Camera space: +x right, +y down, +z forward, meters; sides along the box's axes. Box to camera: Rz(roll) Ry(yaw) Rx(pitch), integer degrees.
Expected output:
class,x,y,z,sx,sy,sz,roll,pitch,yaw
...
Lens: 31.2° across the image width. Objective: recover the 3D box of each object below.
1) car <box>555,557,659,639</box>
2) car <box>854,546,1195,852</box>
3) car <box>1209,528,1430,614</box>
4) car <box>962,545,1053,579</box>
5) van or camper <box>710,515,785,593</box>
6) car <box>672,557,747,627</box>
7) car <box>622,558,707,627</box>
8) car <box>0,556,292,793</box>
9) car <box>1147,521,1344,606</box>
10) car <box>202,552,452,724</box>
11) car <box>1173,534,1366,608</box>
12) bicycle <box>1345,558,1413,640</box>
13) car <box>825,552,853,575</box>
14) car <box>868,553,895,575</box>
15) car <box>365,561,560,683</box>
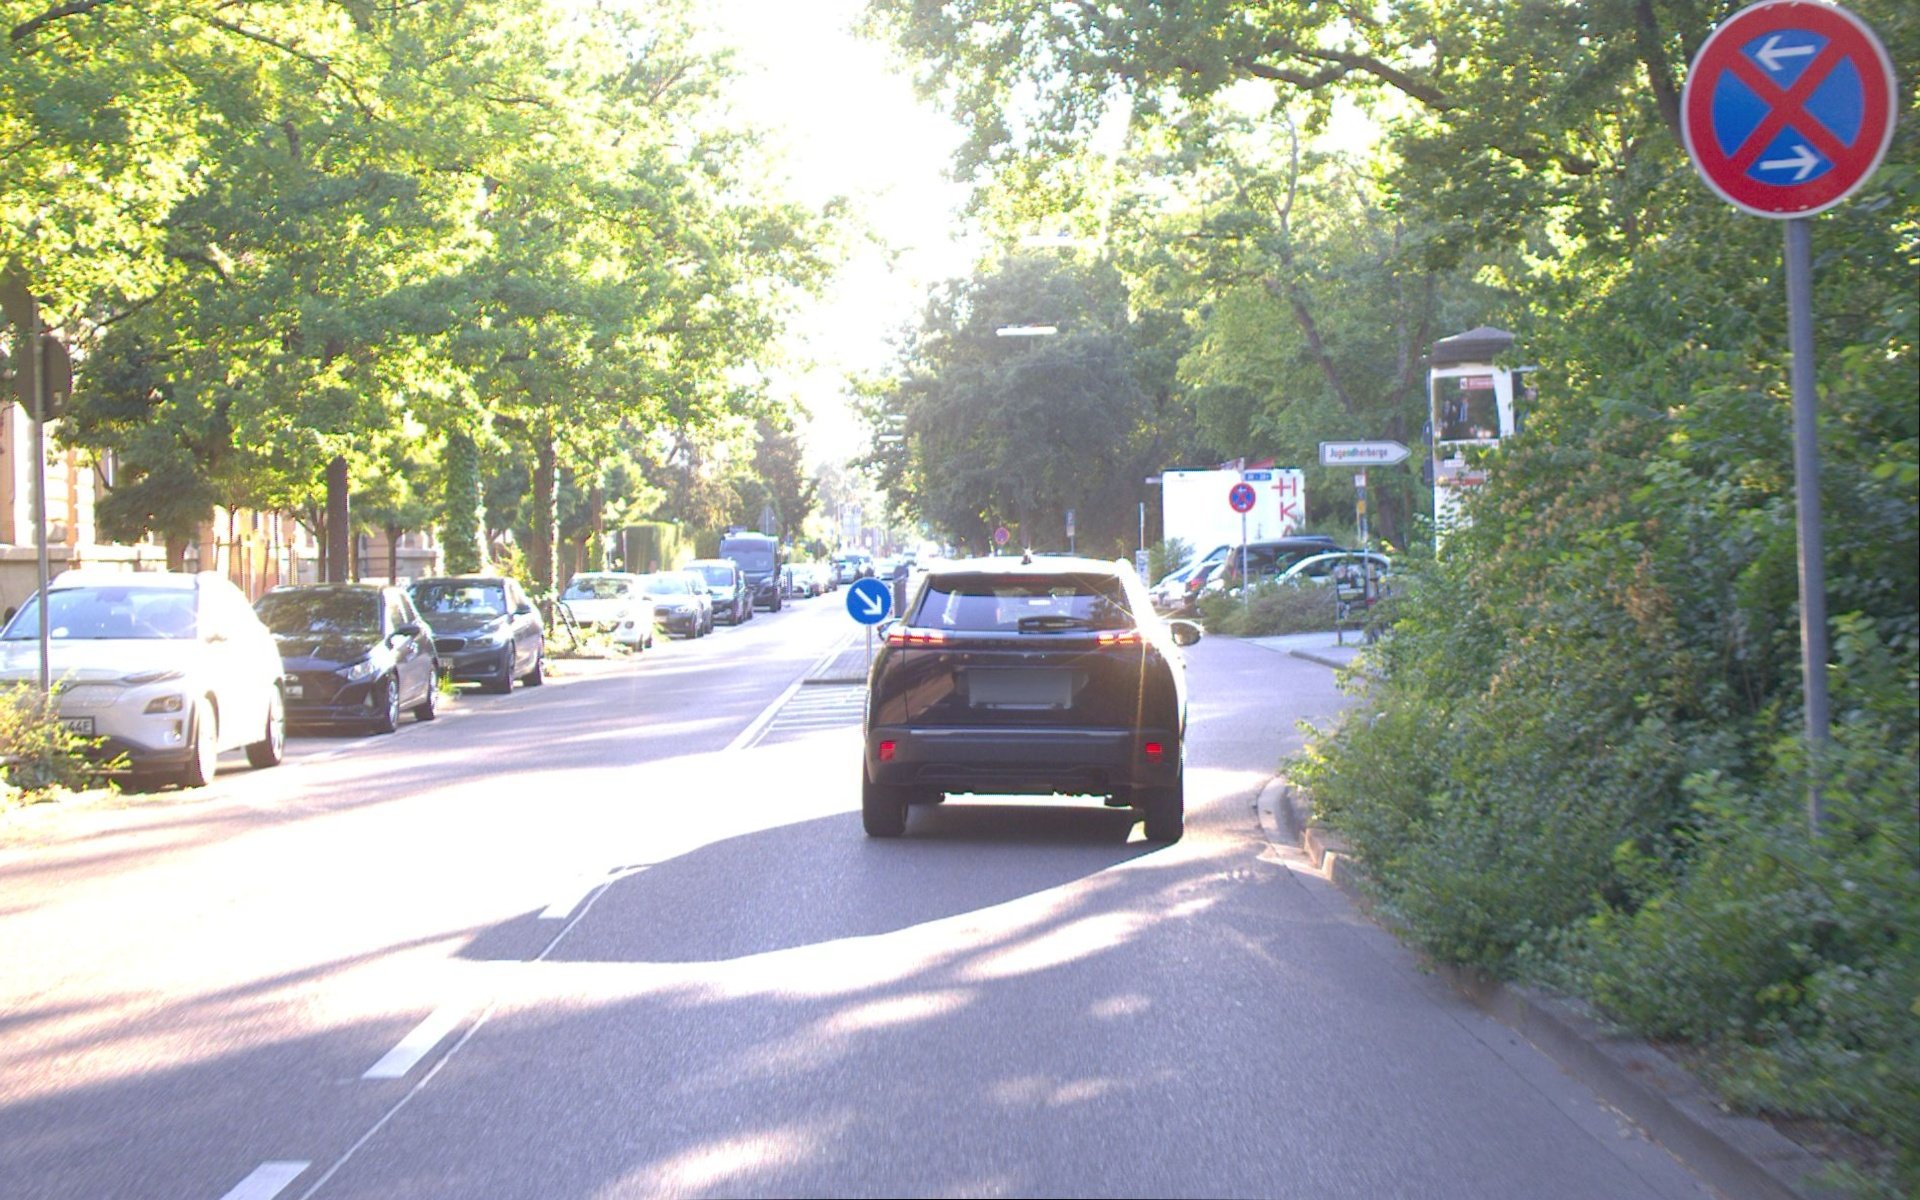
class,x,y,z,sx,sy,sz,roll,pitch,yaw
car,-6.726,-0.061,65.749,1.617,1.491,3.925,-1,1,-1
car,0.314,0.483,19.927,1.771,1.563,4.109,0,1,-1
car,7.506,-0.615,72.028,4.362,1.548,1.727,-3,1,-1
car,2.301,-1.828,166.467,4.242,1.444,2.022,-3,1,-3
van or camper,-7.104,-1.548,115.770,2.229,2.536,7.080,0,1,-1
car,-6.993,-0.240,96.139,1.777,1.859,4.332,1,1,0
car,-6.715,-0.197,78.473,1.617,1.491,4.377,-1,1,-1
car,-6.322,0.499,25.881,1.803,1.610,4.147,-1,1,-1
car,7.446,-0.957,89.967,4.852,1.909,1.916,-3,1,-1
car,-6.251,0.332,34.348,1.780,1.610,4.147,0,1,-1
car,7.441,-0.709,82.856,4.362,1.532,1.921,-3,1,-1
bicycle,6.542,-0.030,53.607,0.493,1.144,2.283,-4,1,19
car,-8.439,-2.535,239.690,1.899,1.568,4.000,-1,1,-1
car,-5.405,-2.496,236.649,1.741,1.453,4.624,-2,1,-1
car,-6.451,0.248,45.063,1.802,1.505,4.862,0,1,0
